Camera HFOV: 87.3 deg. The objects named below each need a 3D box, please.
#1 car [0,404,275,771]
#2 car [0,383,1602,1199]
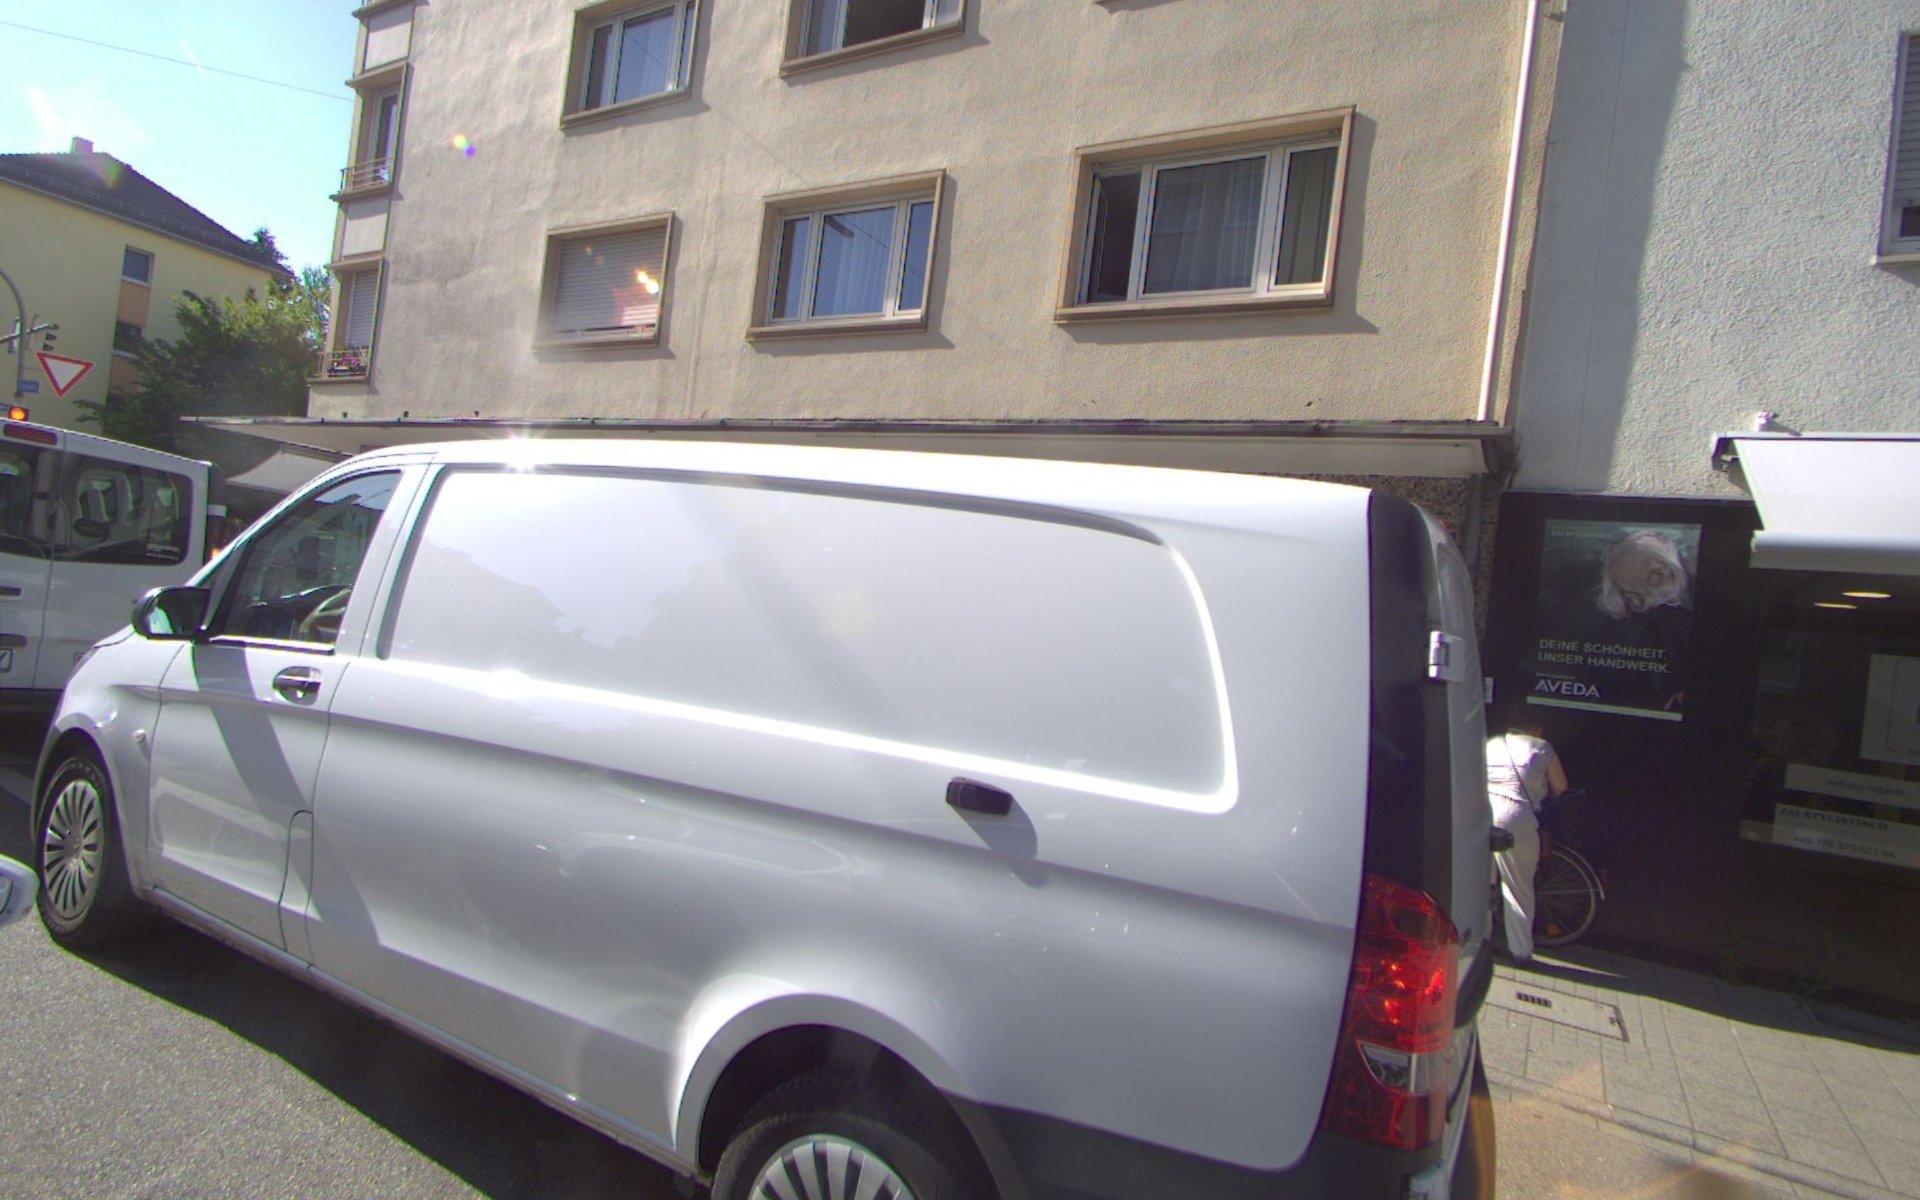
[{"bbox_3d":[-7.171,-0.264,6.986,4.814,2.001,1.999,7,-3,32],"label":"car"},{"bbox_3d":[-0.976,0.495,3.294,4.911,1.891,1.840,7,-1,30],"label":"car"}]
